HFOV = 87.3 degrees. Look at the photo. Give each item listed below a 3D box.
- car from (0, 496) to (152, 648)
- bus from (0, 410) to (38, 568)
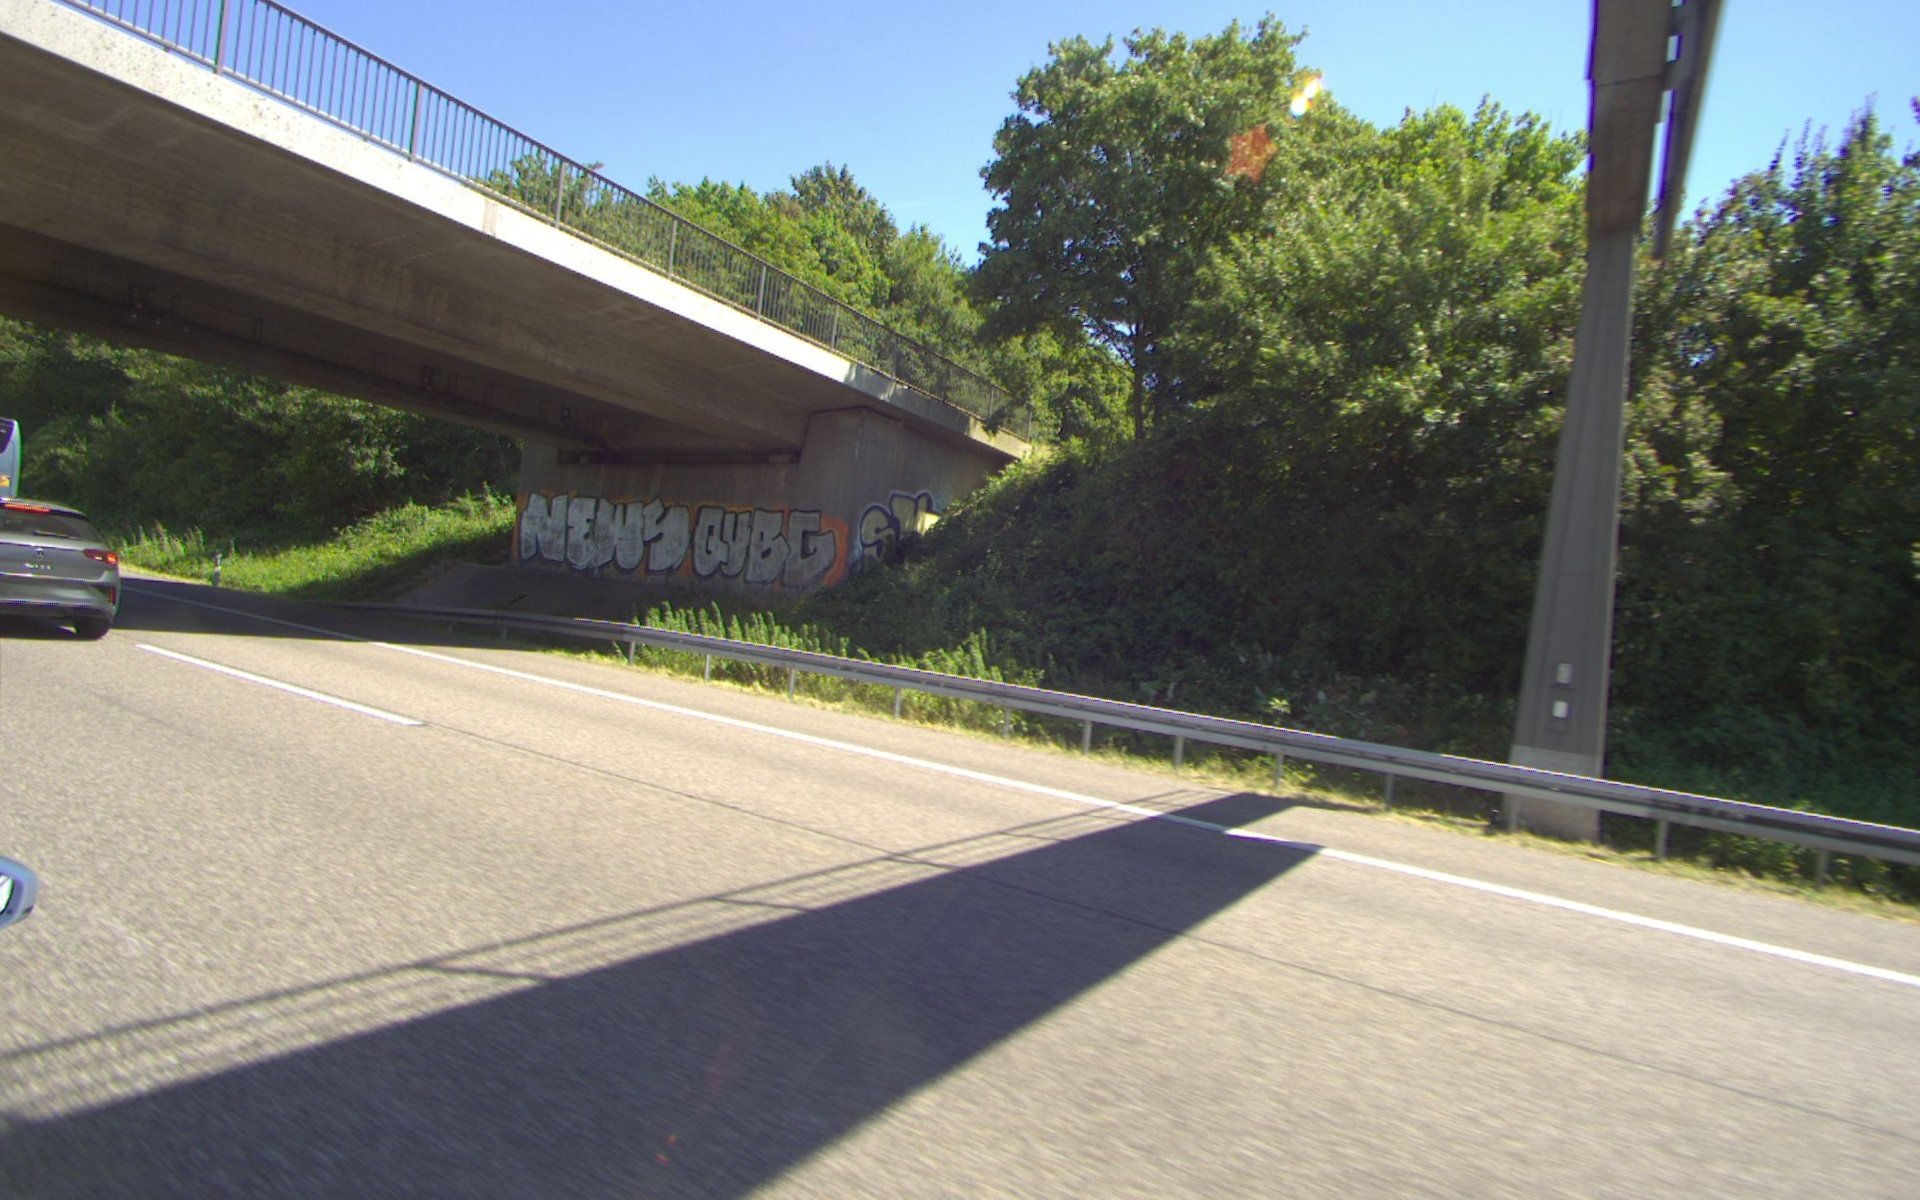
[{"bbox_3d":[-12.019,-0.527,12.166,4.680,1.550,1.903,7,-1,31],"label":"car"},{"bbox_3d":[-28.136,-3.261,26.113,12.268,3.640,2.806,6,-1,32],"label":"bus"}]
